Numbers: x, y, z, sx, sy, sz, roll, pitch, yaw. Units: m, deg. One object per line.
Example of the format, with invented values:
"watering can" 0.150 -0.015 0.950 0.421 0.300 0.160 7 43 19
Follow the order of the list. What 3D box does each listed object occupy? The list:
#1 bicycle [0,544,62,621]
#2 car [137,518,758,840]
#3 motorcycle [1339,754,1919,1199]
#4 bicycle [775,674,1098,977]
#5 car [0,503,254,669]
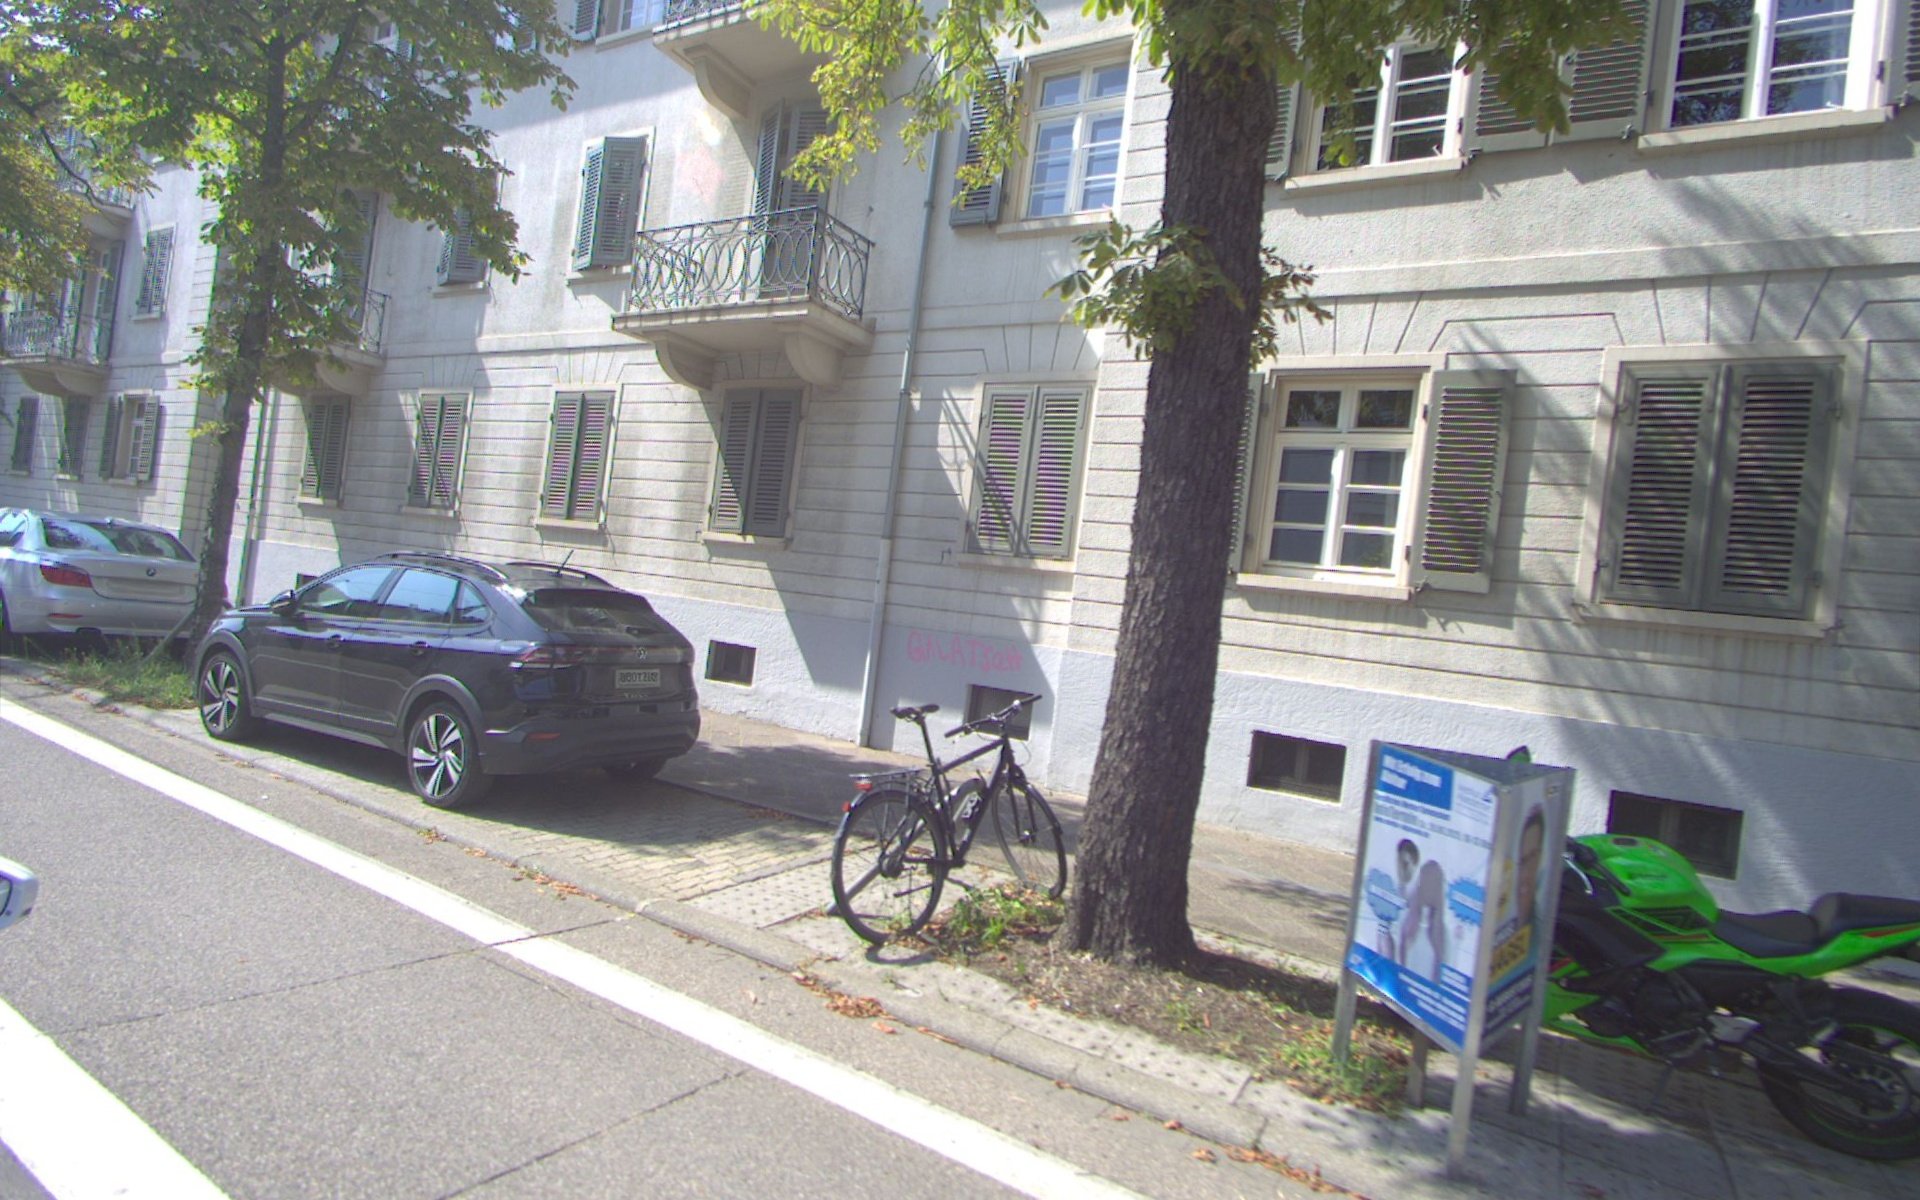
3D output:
"bicycle" -13.398 -0.316 13.429 0.709 0.963 1.925 6 -2 34
"car" -3.806 0.419 7.327 4.356 1.525 1.667 7 -1 27
"motorcycle" 2.871 1.381 3.872 2.455 1.124 0.828 6 -1 29
"bicycle" -0.022 1.000 4.963 0.645 1.136 1.758 7 -2 31
"car" -10.217 -0.272 11.312 4.670 1.468 1.786 6 -1 29
